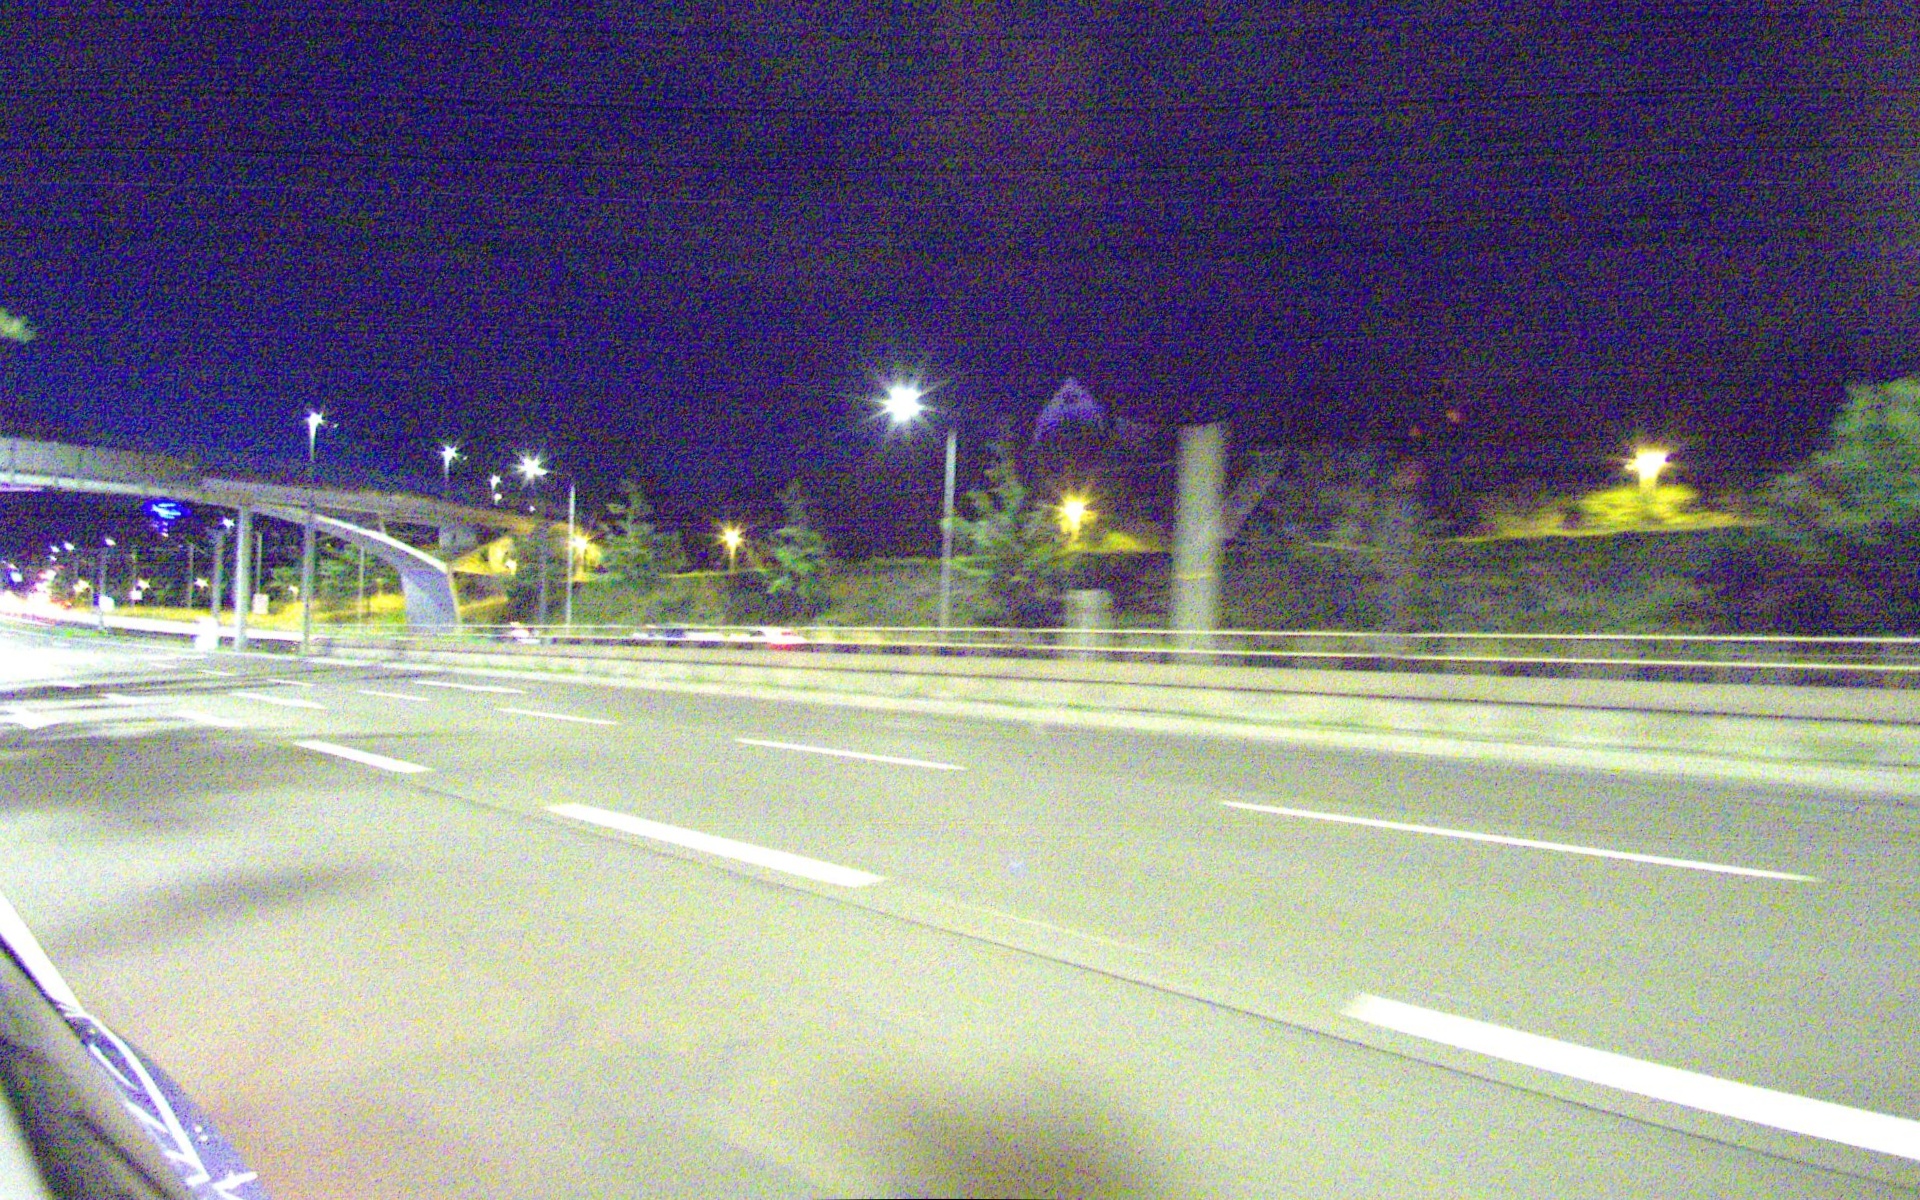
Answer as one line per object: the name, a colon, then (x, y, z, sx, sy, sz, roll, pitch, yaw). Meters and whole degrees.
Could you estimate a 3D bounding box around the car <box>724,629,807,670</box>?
car: (-9.341, 2.339, 48.474, 3.997, 1.697, 1.813, 1, 1, 40)

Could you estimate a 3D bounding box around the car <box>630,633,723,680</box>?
car: (-11.615, 2.278, 41.346, 3.998, 1.707, 1.782, 0, 0, 41)

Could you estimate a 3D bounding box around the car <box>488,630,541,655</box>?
car: (-26.146, 2.479, 59.351, 3.389, 1.279, 1.512, 1, 1, 41)
